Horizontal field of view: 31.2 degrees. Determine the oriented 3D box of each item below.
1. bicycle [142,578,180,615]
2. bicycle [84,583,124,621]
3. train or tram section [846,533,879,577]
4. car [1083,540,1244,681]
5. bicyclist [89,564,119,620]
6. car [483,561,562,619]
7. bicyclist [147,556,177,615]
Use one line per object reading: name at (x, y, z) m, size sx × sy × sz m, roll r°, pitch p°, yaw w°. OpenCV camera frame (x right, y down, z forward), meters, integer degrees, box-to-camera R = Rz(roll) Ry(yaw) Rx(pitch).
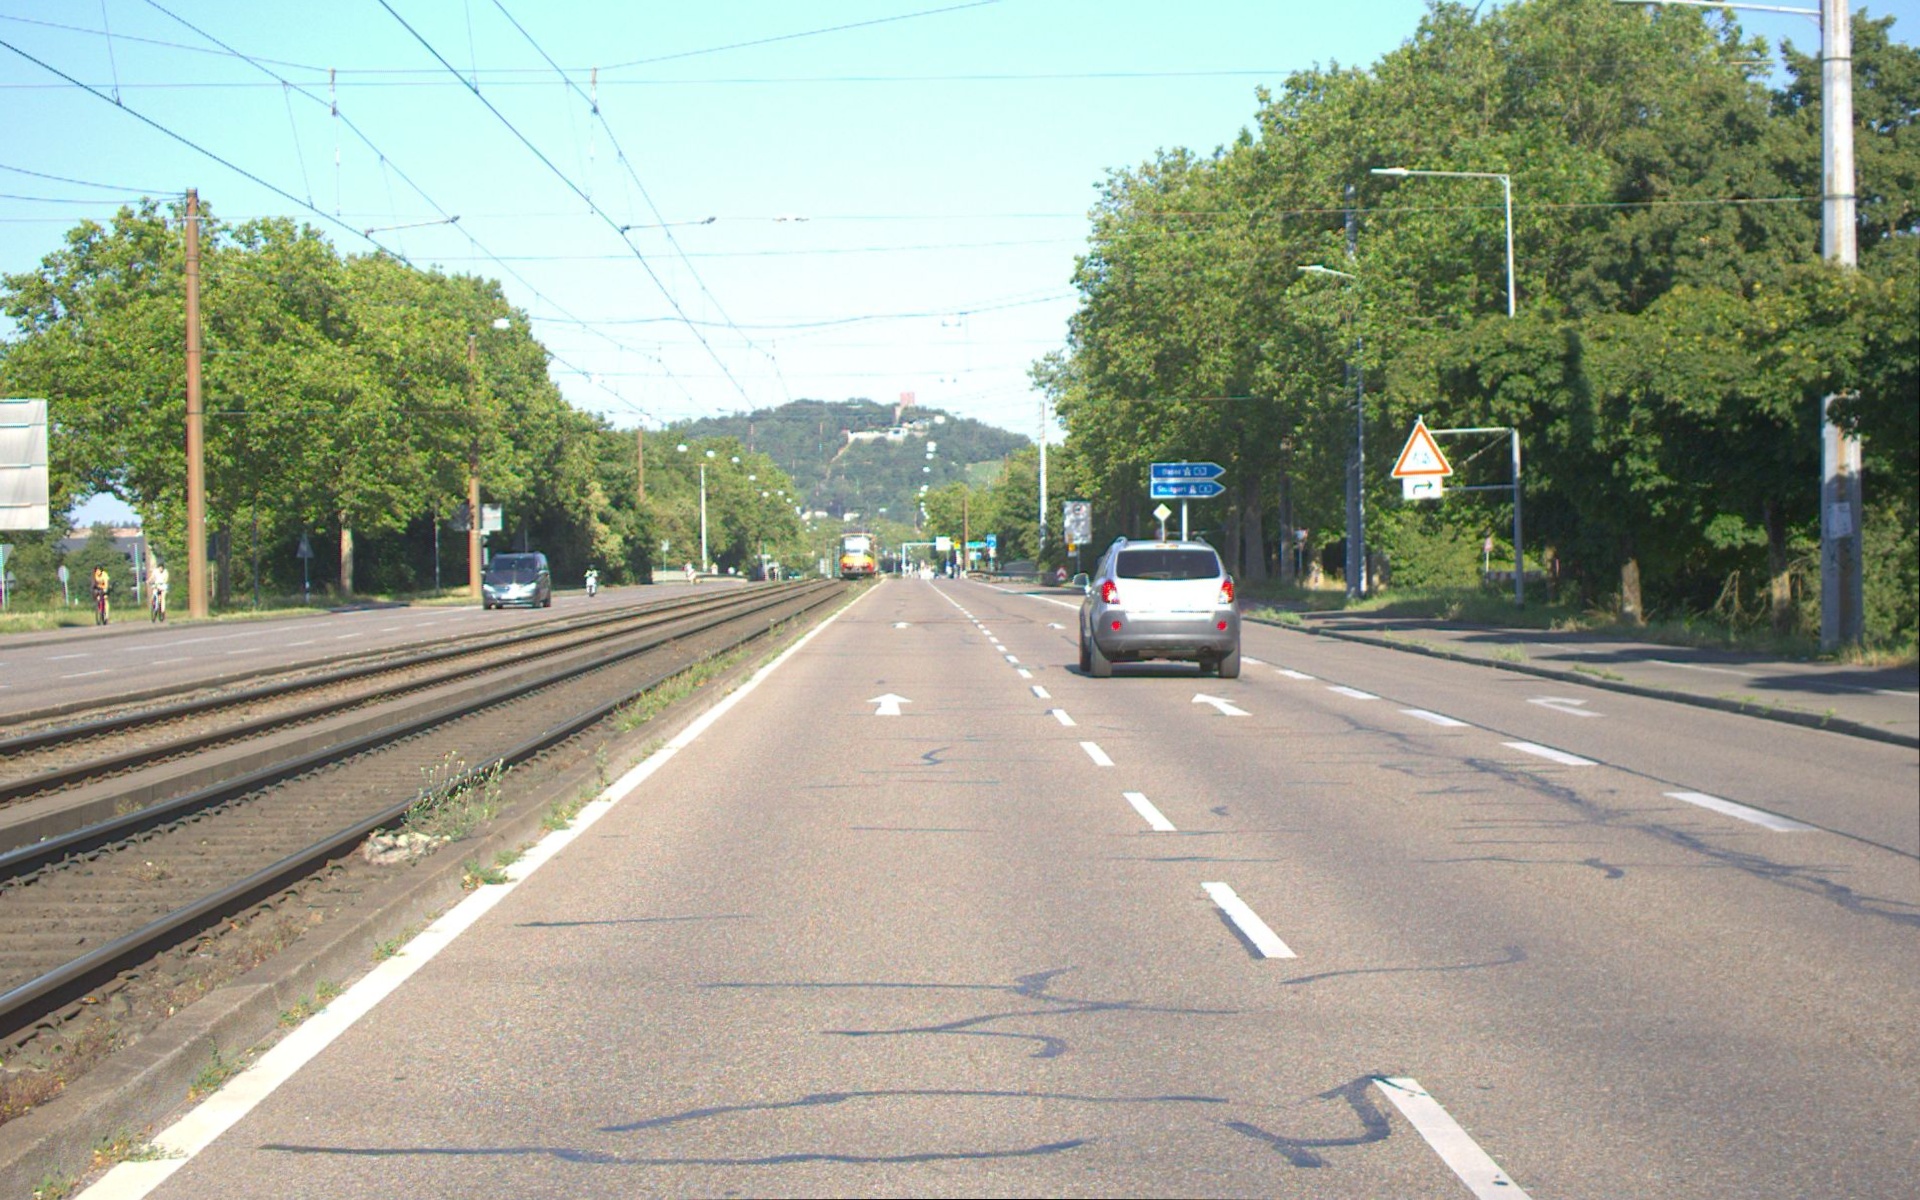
bicycle at (-22.085, -0.106, 95.013) m, size 0.590 × 1.018 × 2.186 m, roll -1°, pitch 0°, yaw -1°
bicycle at (-23.234, 0.048, 93.310) m, size 0.590 × 1.018 × 2.186 m, roll -1°, pitch 0°, yaw -1°
train or tram section at (-7.334, -3.359, 259.804) m, size 2.310 × 3.206 × 9.475 m, roll 1°, pitch 0°, yaw -1°
car at (2.520, 0.121, 43.413) m, size 1.888 × 1.688 × 4.256 m, roll 0°, pitch 0°, yaw 1°
bicyclist at (-23.239, -0.220, 93.385) m, size 0.590 × 1.523 × 0.906 m, roll -1°, pitch 0°, yaw -1°
car at (-14.993, -0.342, 118.030) m, size 1.993 × 1.916 × 4.860 m, roll -1°, pitch 0°, yaw 1°
bicyclist at (-22.089, -0.409, 95.170) m, size 0.590 × 1.605 × 0.967 m, roll -1°, pitch 0°, yaw -1°
